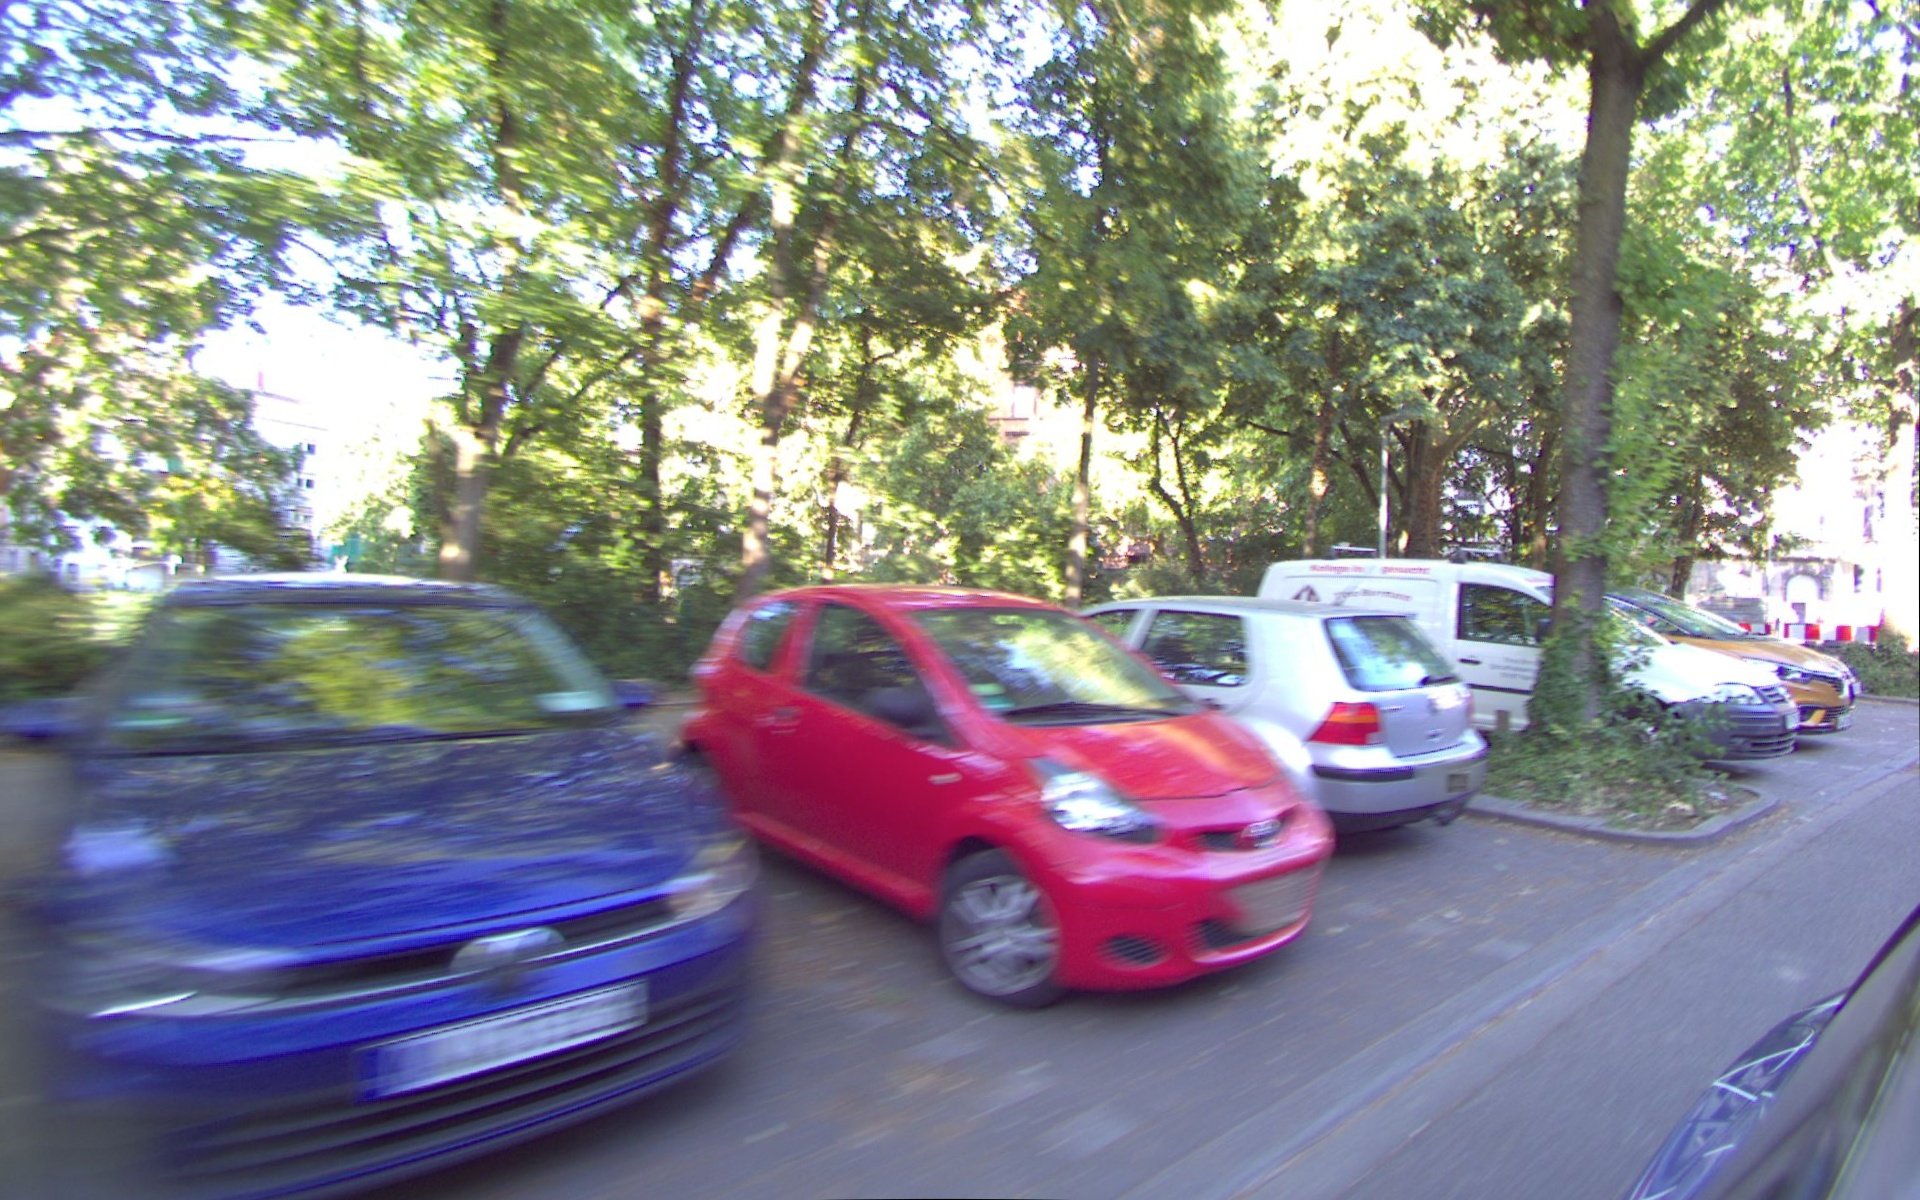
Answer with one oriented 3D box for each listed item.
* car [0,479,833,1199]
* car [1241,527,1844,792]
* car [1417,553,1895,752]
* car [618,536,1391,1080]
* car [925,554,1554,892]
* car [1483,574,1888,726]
[{"bbox_3d":[-2.196,0.610,3.639,1.559,1.594,3.994,0,0,-40],"label":"car"},{"bbox_3d":[5.288,0.310,9.829,1.839,1.948,4.683,0,3,-40],"label":"car"},{"bbox_3d":[7.434,0.475,11.212,1.764,1.780,4.000,0,0,-34],"label":"car"},{"bbox_3d":[-0.173,0.614,5.016,1.559,1.594,3.994,0,0,-40],"label":"car"},{"bbox_3d":[1.552,0.585,6.898,1.634,1.594,3.998,0,0,-36],"label":"car"},{"bbox_3d":[9.222,0.549,13.121,1.768,1.648,3.992,0,0,-42],"label":"car"}]
